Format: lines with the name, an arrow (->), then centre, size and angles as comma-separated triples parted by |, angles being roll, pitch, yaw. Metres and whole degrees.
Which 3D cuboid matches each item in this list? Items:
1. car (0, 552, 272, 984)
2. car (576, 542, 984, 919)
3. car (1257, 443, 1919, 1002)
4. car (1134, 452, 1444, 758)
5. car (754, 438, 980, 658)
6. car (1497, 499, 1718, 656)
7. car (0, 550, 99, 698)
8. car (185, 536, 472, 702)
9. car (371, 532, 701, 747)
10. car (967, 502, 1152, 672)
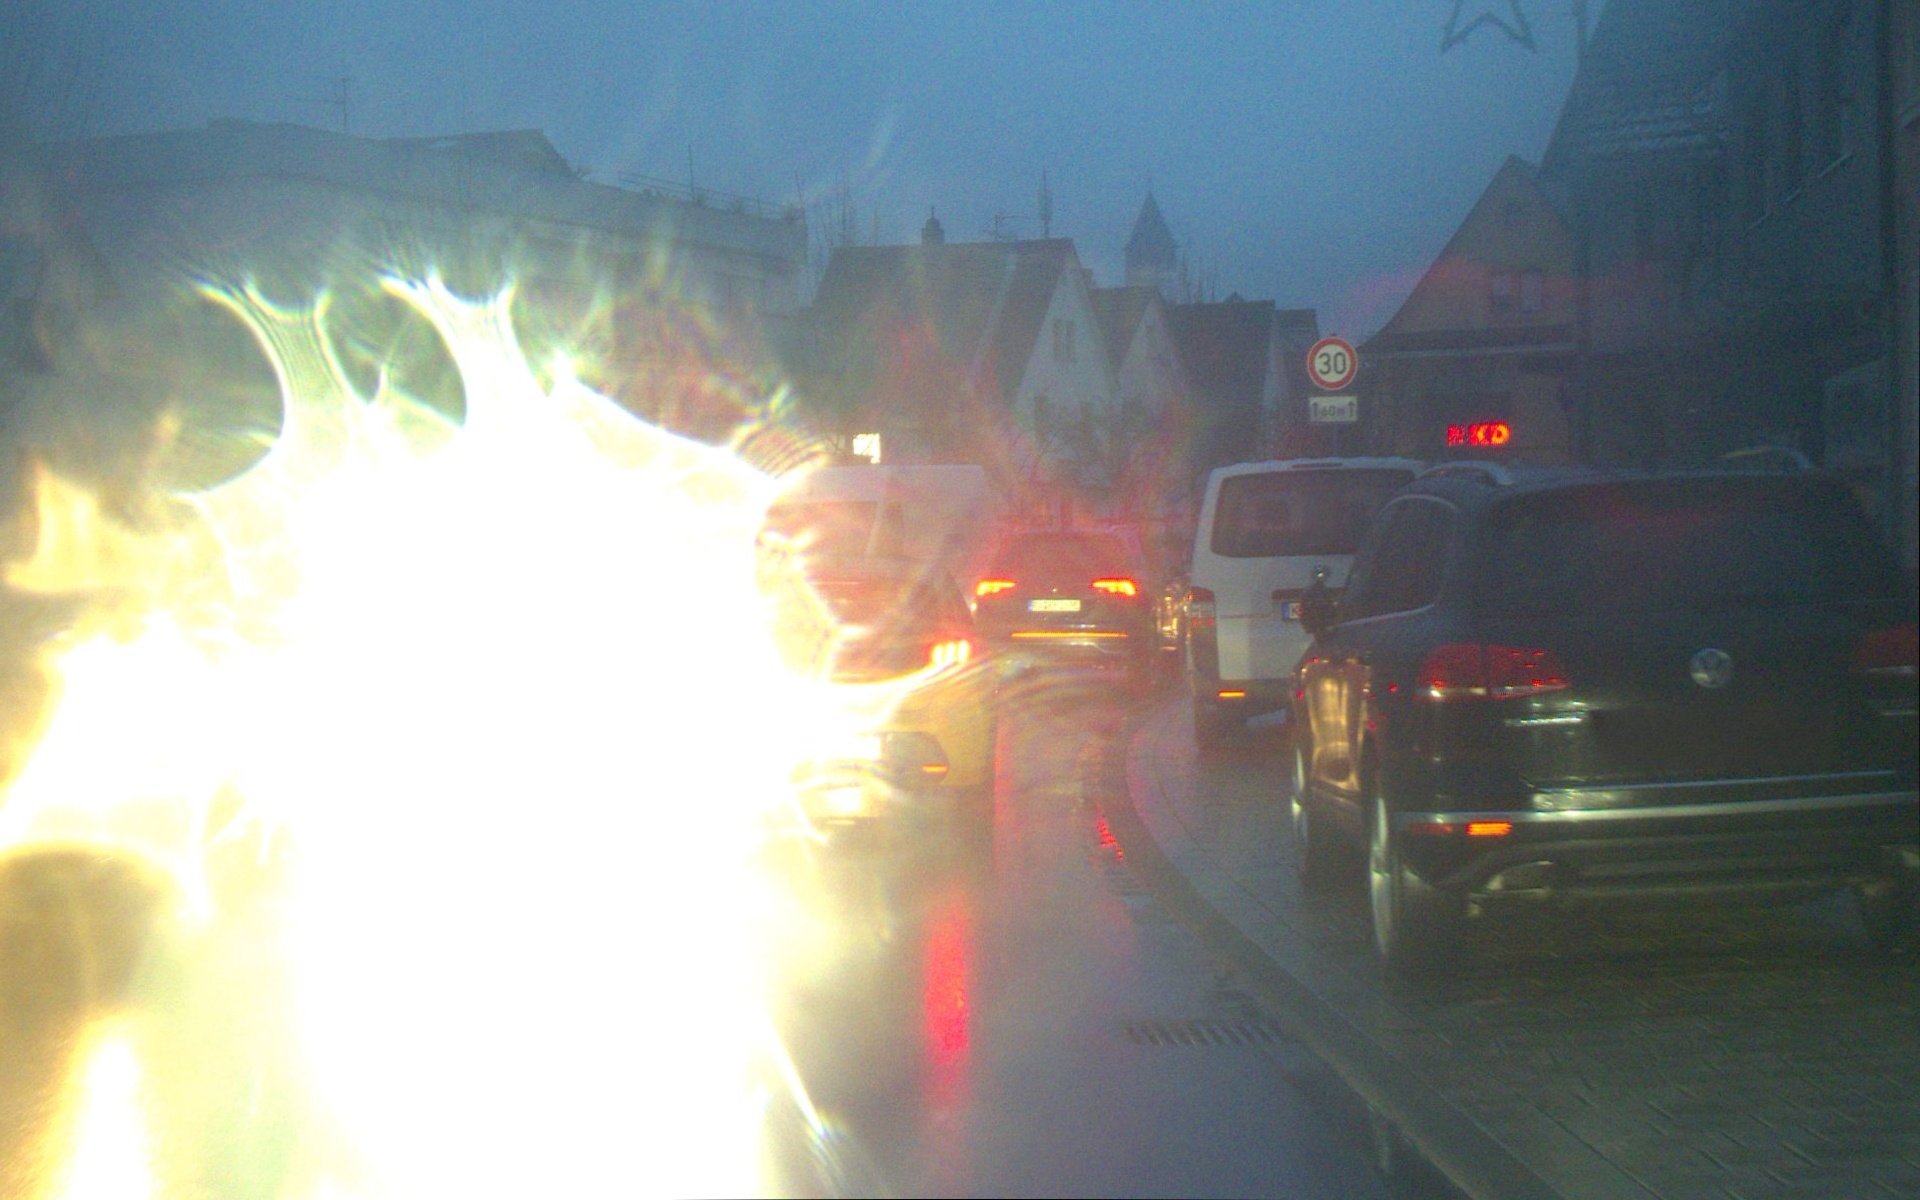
car -> -4.037, 0.607, 14.223 | 1.619, 1.475, 3.839 | -3, 2, -1
car -> -0.935, 0.619, 19.604 | 1.993, 1.789, 4.649 | -2, 2, -1
car -> 2.296, 0.310, 12.734 | 1.974, 1.655, 4.460 | -2, 2, 0
car -> 2.316, -0.033, 24.988 | 1.973, 1.953, 4.851 | -2, 2, 4
car -> -1.055, -0.683, 42.778 | 2.195, 2.482, 6.142 | -2, 1, 4
car -> 7.019, -0.277, 37.568 | 1.734, 1.556, 3.664 | -2, 1, 1
car -> -11.733, 0.319, 38.808 | 4.109, 1.577, 1.717 | -2, 0, 39
car -> -6.384, 0.140, 35.218 | 1.905, 1.528, 4.256 | -1, 1, 3
car -> -3.371, 0.252, 28.184 | 1.826, 1.513, 4.548 | -2, 2, 4
car -> 1.083, -0.166, 35.698 | 1.798, 1.656, 4.000 | 0, 1, 3
